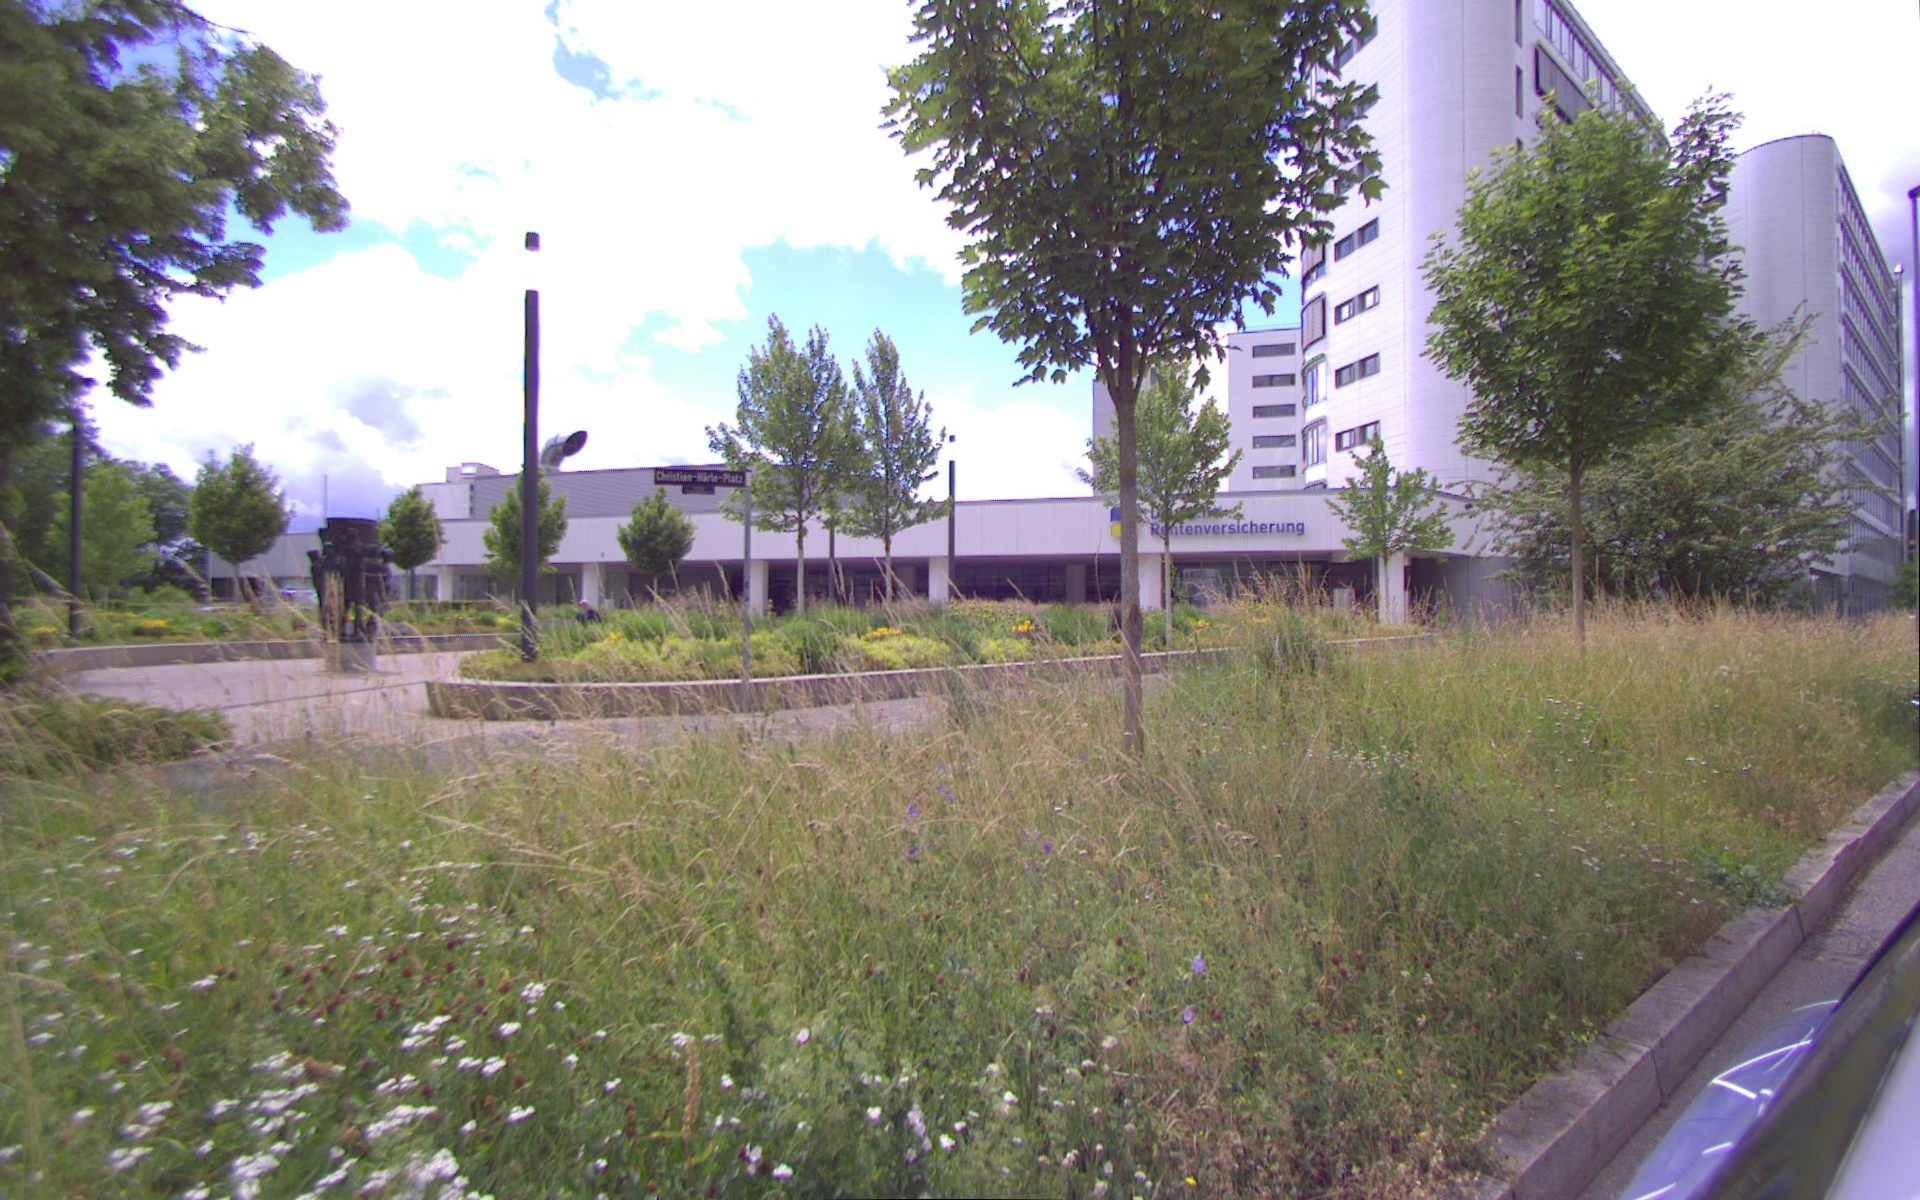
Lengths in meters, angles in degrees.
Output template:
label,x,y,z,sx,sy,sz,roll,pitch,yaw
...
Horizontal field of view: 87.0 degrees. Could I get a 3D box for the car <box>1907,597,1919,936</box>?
label,x,y,z,sx,sy,sz,roll,pitch,yaw
car,5.978,0.736,4.820,3.611,1.434,1.748,0,1,-41

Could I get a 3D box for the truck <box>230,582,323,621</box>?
label,x,y,z,sx,sy,sz,roll,pitch,yaw
truck,-36.146,0.069,53.571,3.941,2.039,1.991,1,0,14

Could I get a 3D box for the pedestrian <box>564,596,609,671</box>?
label,x,y,z,sx,sy,sz,roll,pitch,yaw
pedestrian,-8.431,0.742,22.868,0.758,1.646,0.764,1,-1,-37

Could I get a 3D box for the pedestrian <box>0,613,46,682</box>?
label,x,y,z,sx,sy,sz,roll,pitch,yaw
pedestrian,-17.373,0.865,18.713,0.621,1.238,0.620,1,0,-36
